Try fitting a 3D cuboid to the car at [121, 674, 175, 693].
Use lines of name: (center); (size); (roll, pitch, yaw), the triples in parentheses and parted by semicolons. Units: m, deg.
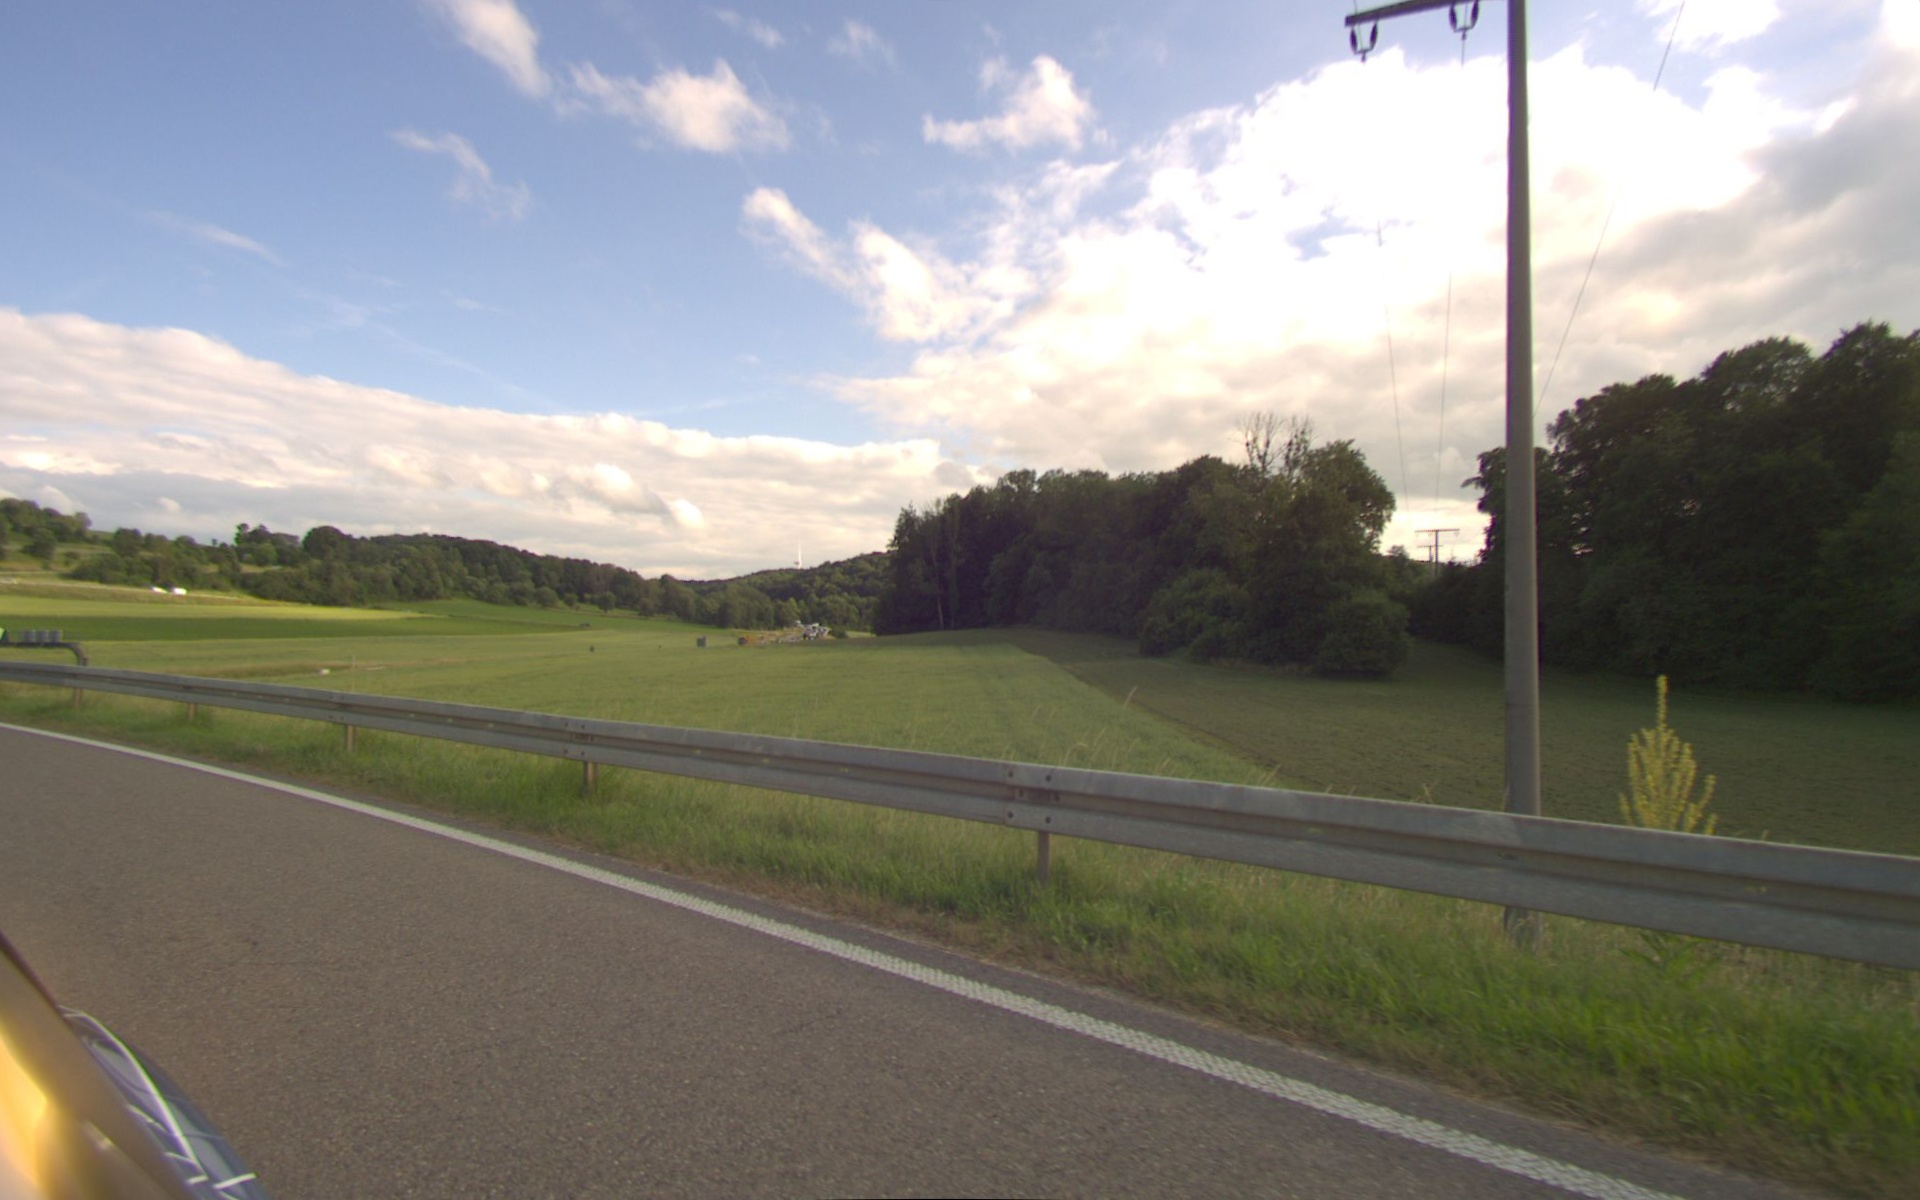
car: (-82.108, 8.419, 102.370); (1.811, 1.662, 3.982); (1, -2, 14)
